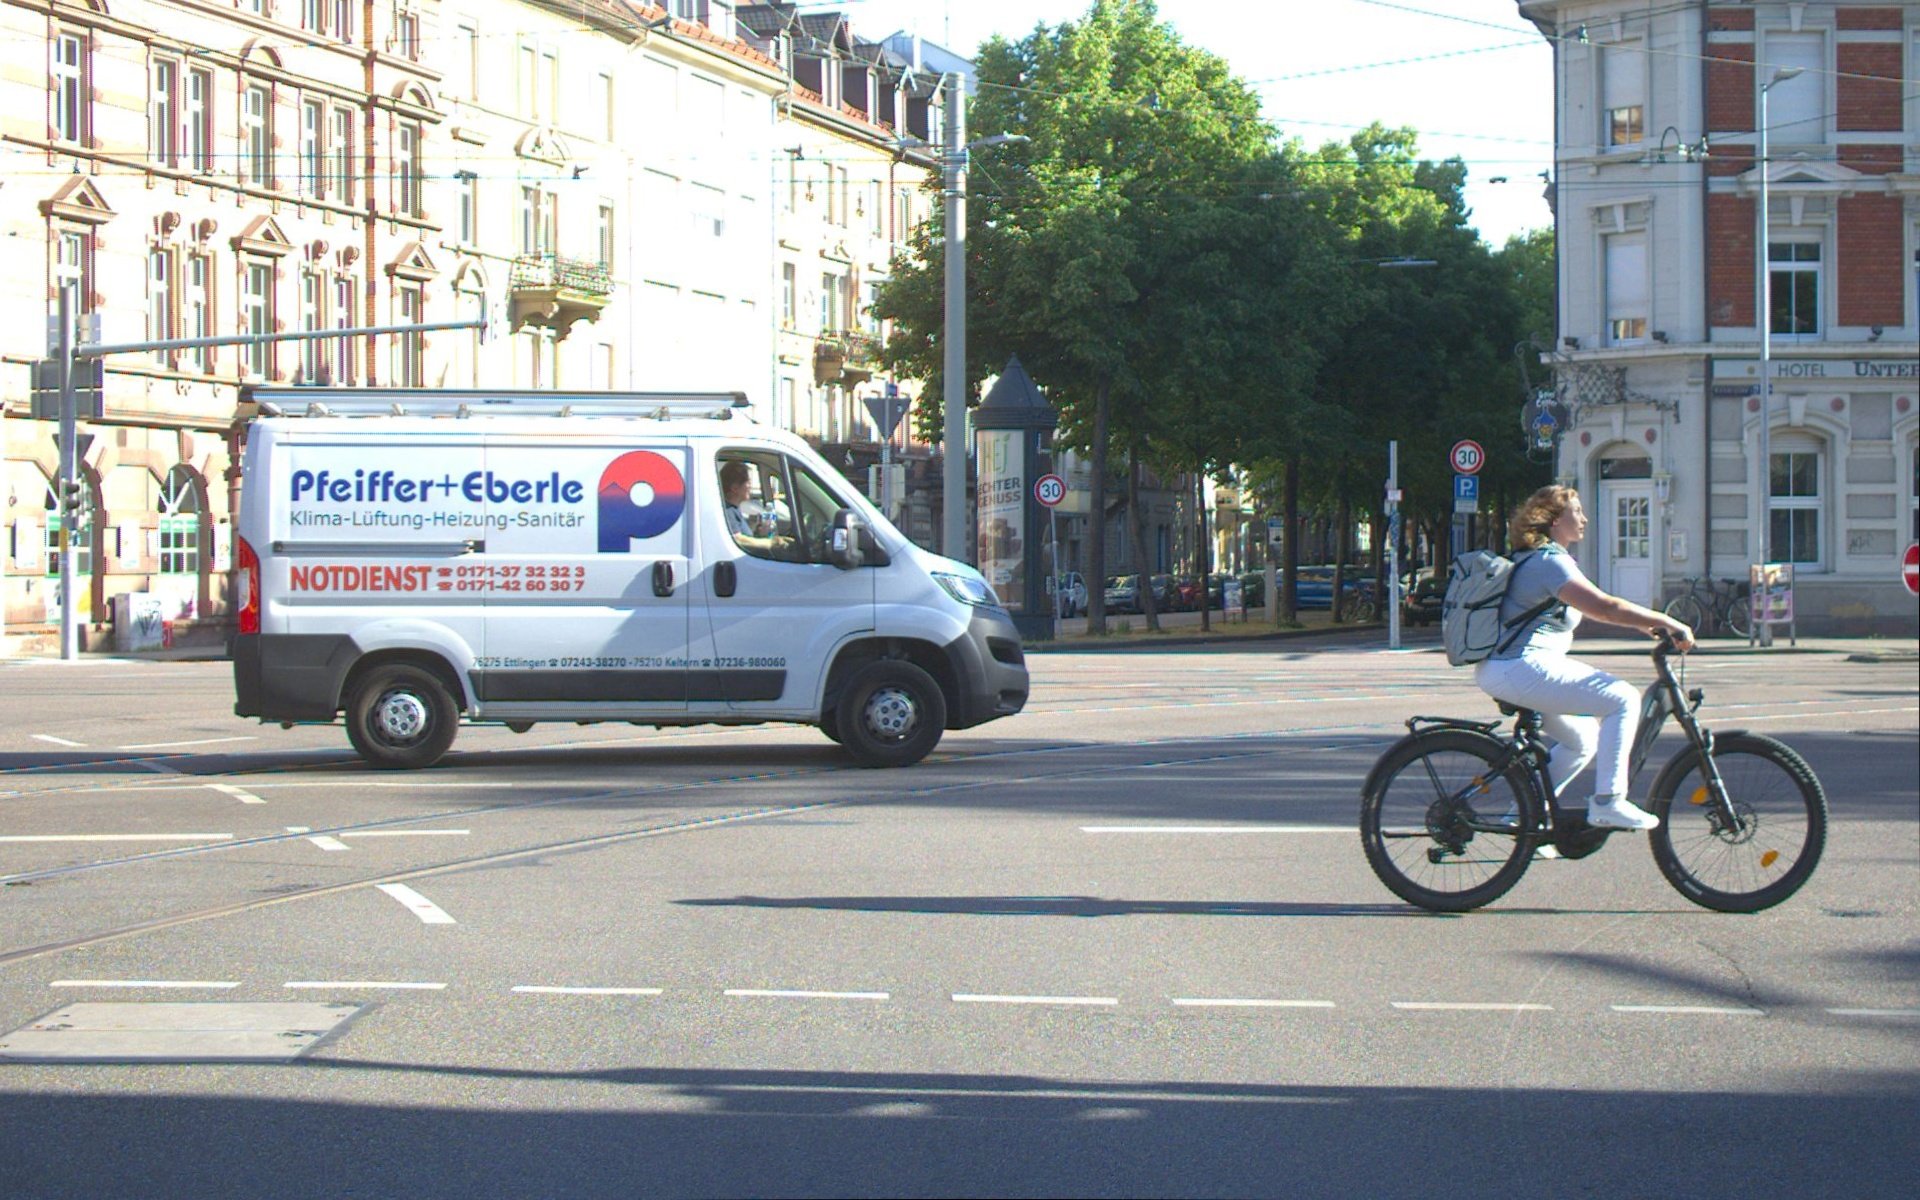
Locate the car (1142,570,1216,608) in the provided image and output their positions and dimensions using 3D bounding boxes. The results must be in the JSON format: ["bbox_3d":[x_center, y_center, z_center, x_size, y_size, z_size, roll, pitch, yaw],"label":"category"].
[{"bbox_3d":[8.404,-0.426,131.412,1.995,1.400,4.166,0,1,16],"label":"car"}]

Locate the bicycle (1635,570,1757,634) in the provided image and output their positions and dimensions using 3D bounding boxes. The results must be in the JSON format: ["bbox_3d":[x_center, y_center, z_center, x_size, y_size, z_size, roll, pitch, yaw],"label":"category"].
[{"bbox_3d":[12.274,0.023,57.348,1.953,1.050,0.715,0,1,10],"label":"bicycle"}]

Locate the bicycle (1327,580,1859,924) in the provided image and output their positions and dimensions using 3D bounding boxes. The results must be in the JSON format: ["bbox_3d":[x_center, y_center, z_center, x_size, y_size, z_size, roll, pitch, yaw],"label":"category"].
[{"bbox_3d":[2.449,0.580,13.420,1.940,1.294,0.623,0,1,-2],"label":"bicycle"}]

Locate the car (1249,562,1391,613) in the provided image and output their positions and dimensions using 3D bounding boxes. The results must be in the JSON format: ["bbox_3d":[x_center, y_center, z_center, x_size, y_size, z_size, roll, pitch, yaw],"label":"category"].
[{"bbox_3d":[10.449,-0.368,99.690,3.989,1.450,1.681,0,1,11],"label":"car"}]

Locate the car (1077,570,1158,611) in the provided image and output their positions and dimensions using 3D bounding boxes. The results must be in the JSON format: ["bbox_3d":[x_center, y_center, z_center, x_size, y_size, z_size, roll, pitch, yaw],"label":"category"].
[{"bbox_3d":[5.652,-0.347,122.584,1.995,1.400,4.166,0,1,16],"label":"car"}]

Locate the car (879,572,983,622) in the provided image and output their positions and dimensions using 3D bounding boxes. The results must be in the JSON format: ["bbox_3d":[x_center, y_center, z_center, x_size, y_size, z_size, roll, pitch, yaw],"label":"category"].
[{"bbox_3d":[-0.842,-0.098,102.095,1.995,1.400,4.166,0,1,16],"label":"car"}]

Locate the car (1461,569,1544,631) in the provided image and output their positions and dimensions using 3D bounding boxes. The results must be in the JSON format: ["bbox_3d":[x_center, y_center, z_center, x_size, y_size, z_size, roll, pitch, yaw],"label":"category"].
[{"bbox_3d":[13.050,-0.030,82.535,1.756,1.415,3.998,0,1,12],"label":"car"}]

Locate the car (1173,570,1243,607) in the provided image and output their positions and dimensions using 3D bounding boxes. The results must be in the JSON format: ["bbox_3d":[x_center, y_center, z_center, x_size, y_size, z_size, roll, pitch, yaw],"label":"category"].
[{"bbox_3d":[9.881,-0.458,136.609,1.995,1.400,4.166,0,1,16],"label":"car"}]

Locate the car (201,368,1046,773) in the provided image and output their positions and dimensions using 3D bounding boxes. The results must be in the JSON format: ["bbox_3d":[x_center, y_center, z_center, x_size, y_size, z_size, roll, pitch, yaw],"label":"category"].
[{"bbox_3d":[-2.142,-0.209,21.994,5.110,2.424,2.081,-1,1,-7],"label":"car"}]

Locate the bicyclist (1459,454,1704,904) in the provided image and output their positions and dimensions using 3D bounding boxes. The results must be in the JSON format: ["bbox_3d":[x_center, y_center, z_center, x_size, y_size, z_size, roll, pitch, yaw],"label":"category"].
[{"bbox_3d":[2.411,0.292,13.418,0.798,1.709,0.734,0,1,-2],"label":"bicyclist"}]

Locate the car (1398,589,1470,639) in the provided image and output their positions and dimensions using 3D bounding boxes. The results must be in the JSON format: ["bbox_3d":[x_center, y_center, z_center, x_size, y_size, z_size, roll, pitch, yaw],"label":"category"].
[{"bbox_3d":[13.184,0.379,95.471,1.718,1.296,4.071,0,1,12],"label":"car"}]
